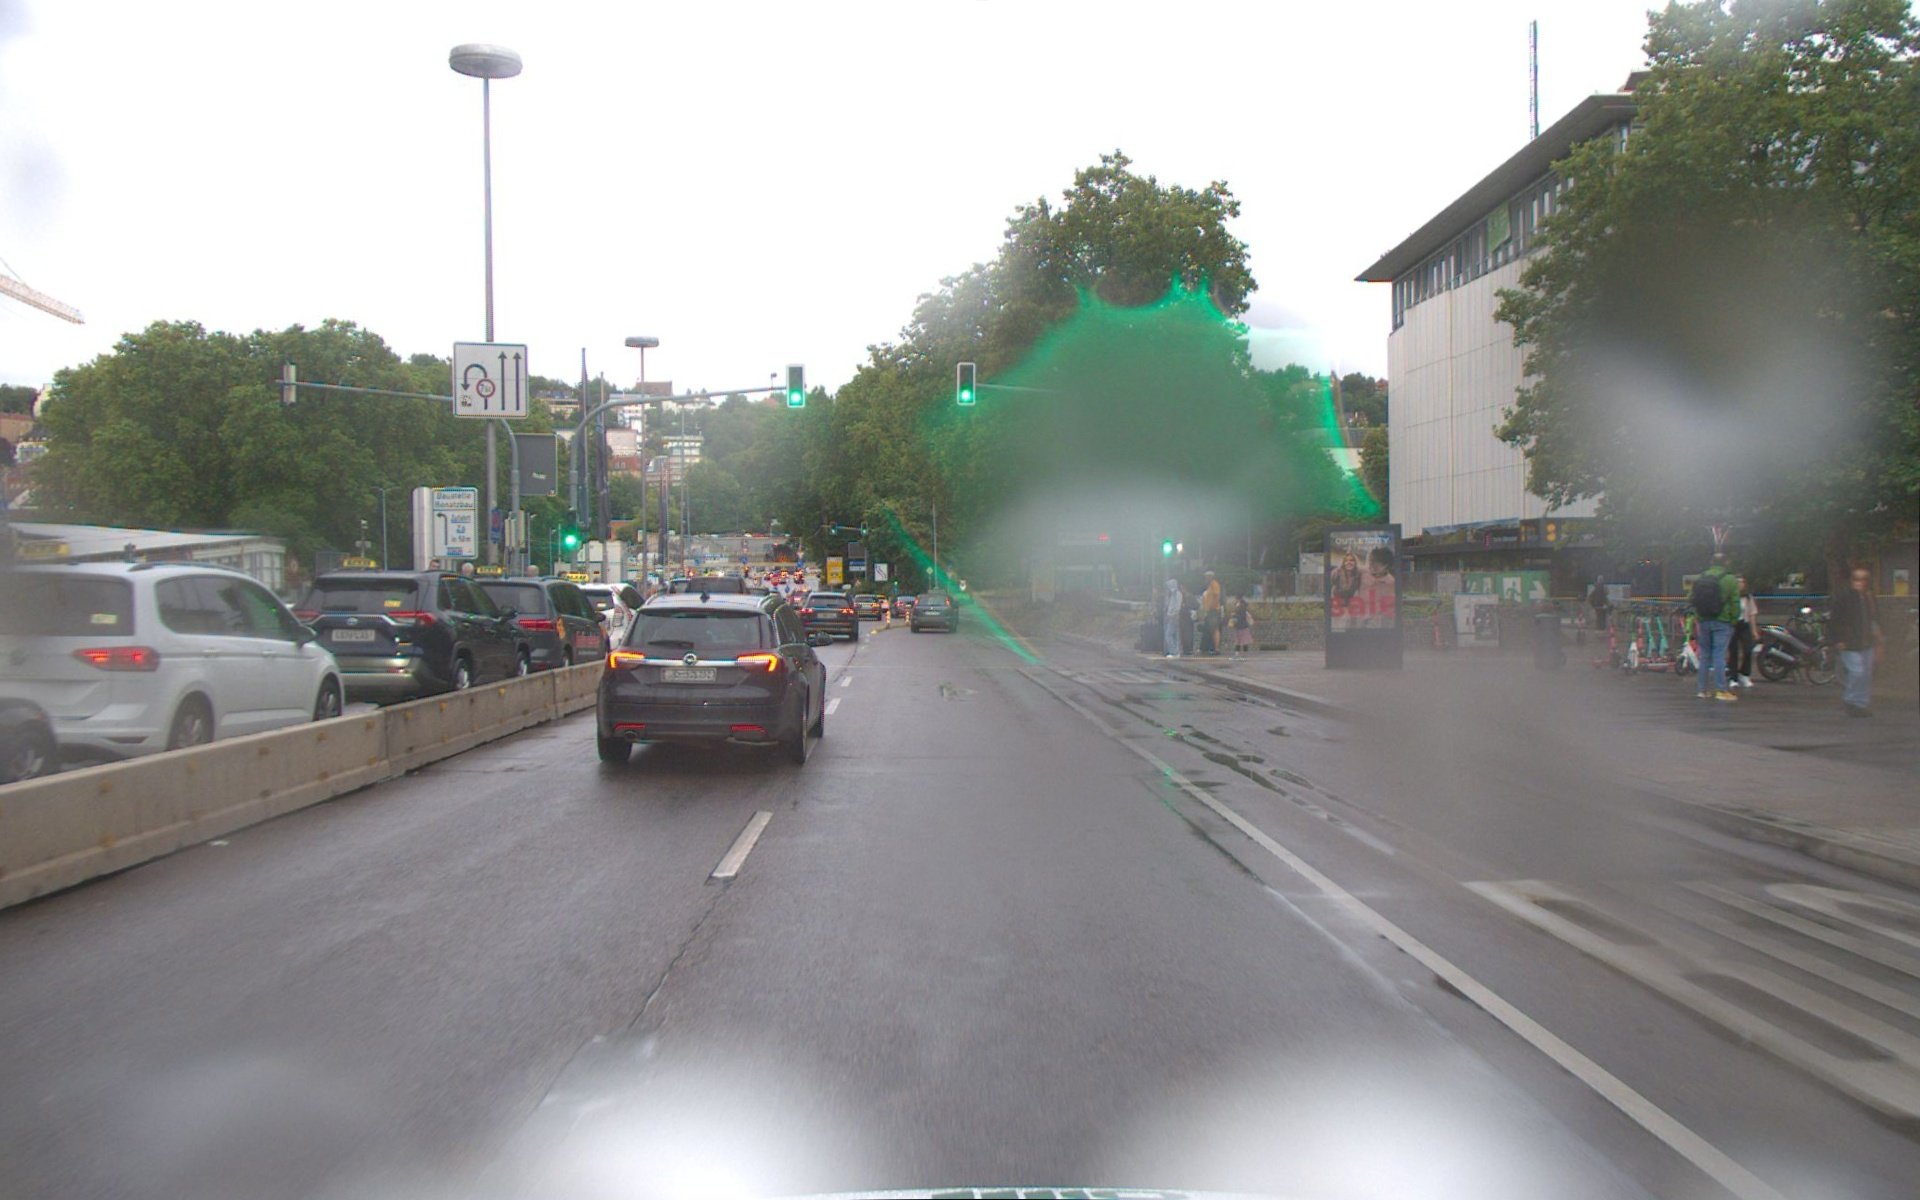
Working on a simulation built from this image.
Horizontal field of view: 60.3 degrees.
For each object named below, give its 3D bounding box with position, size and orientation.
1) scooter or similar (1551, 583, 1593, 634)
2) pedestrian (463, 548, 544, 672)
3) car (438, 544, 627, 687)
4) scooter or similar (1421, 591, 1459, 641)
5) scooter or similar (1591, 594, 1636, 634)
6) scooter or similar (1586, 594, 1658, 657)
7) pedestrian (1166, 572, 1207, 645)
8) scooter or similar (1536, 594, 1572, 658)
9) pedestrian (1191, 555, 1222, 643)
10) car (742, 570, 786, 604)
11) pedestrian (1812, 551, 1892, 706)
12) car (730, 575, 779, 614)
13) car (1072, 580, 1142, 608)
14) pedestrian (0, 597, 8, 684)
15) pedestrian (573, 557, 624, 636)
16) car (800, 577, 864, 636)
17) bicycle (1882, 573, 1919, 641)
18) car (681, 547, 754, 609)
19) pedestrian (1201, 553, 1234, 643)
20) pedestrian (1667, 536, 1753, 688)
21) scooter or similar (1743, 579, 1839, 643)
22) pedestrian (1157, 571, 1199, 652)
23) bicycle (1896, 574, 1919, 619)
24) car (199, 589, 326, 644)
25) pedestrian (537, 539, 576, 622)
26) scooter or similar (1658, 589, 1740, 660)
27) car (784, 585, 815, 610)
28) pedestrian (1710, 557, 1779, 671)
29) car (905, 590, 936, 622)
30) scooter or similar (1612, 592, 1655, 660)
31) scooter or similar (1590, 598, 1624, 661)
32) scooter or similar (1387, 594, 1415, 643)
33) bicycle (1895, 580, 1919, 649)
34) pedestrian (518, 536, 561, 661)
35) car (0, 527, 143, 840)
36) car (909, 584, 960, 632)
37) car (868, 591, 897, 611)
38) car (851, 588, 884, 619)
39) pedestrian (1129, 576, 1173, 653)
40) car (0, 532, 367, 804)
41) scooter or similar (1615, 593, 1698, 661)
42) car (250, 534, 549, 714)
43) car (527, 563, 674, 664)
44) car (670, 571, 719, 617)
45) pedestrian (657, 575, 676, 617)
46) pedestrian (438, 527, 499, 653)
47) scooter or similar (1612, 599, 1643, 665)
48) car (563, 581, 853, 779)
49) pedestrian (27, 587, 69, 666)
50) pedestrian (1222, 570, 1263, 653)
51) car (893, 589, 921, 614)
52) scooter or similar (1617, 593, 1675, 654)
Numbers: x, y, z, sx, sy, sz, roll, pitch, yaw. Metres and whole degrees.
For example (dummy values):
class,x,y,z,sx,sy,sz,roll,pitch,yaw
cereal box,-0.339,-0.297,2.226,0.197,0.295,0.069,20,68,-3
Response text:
class,x,y,z,sx,sy,sz,roll,pitch,yaw
scooter or similar,16.582,0.215,44.846,0.402,1.355,1.312,1,0,-13
pedestrian,-7.767,0.158,28.156,0.819,2.049,1.024,0,1,37
car,-6.302,0.195,24.883,1.679,1.925,4.609,-1,0,-1
scooter or similar,12.468,0.407,42.989,0.366,1.281,1.312,1,0,-13
scooter or similar,17.827,0.376,45.134,0.467,1.053,1.312,-2,0,-13
scooter or similar,13.660,0.519,34.127,1.336,1.272,0.437,0,0,30
pedestrian,5.475,0.195,39.956,0.857,1.720,0.758,-1,0,-1
scooter or similar,11.884,0.506,33.097,0.317,1.258,1.099,0,0,0
pedestrian,6.218,-0.030,41.713,0.693,2.183,0.722,-1,1,11
car,-9.900,-0.642,83.863,1.955,1.595,4.871,-2,0,-5
pedestrian,9.693,0.305,17.986,0.637,1.647,0.502,-1,0,14
car,-8.491,-0.221,68.670,1.788,1.537,4.486,0,0,-5
car,8.244,-0.341,92.897,3.549,1.532,1.726,0,0,38
pedestrian,-21.023,0.885,35.593,0.626,1.873,0.775,-1,0,-3
pedestrian,-8.987,-0.087,41.136,0.983,1.919,0.683,-1,0,22
car,-3.928,0.184,51.154,1.794,1.715,4.132,-1,0,-2
bicycle,18.896,0.100,31.813,1.948,1.259,0.618,-3,0,0
car,-7.679,-0.678,52.688,1.954,1.877,5.057,0,0,-5
pedestrian,6.336,-0.062,40.657,0.545,2.183,0.665,-1,0,-15
pedestrian,9.962,0.150,21.976,0.693,1.966,0.787,-1,0,-10
scooter or similar,17.003,0.214,33.874,0.612,1.282,1.736,0,0,-27
pedestrian,5.060,0.258,38.433,0.733,1.836,0.707,-1,0,-16
bicycle,24.547,-0.090,41.979,0.603,1.121,2.026,-2,1,7
car,-19.908,0.446,47.386,1.953,1.493,4.000,0,0,0
pedestrian,-9.497,-0.463,38.941,0.815,1.919,0.690,-1,2,-11
scooter or similar,13.444,0.442,30.097,1.281,1.278,0.590,0,0,-15
car,-12.086,-0.170,124.122,1.958,1.859,3.990,0,0,-11
pedestrian,11.817,0.207,24.925,0.769,1.670,0.789,-1,0,14
car,-2.084,0.307,87.405,1.640,1.609,3.239,0,0,-1
scooter or similar,13.264,0.504,32.593,0.361,1.303,1.173,0,0,0
scooter or similar,12.779,0.568,32.695,0.299,1.228,0.957,0,0,0
scooter or similar,11.337,0.459,42.558,0.345,1.238,1.157,1,0,-2
bicycle,18.715,0.226,31.033,1.948,1.259,0.618,-3,0,0
pedestrian,-7.014,-0.034,27.611,0.517,2.049,0.890,-1,0,-3
car,-6.320,0.491,8.340,2.008,1.741,5.053,-1,0,-2
car,-1.001,0.287,62.661,1.815,1.747,3.998,0,0,-3
car,-6.404,0.070,136.254,1.781,1.602,3.989,0,0,-11
car,-5.313,0.219,95.346,1.866,1.747,3.998,0,0,-3
pedestrian,4.756,0.350,41.271,0.773,1.871,0.946,-1,0,-15
car,-6.526,0.451,13.417,1.954,1.818,4.452,-1,0,-3
scooter or similar,13.082,0.493,31.084,1.346,1.252,0.565,0,0,44
car,-6.360,0.225,19.422,1.953,1.818,4.846,-1,0,-2
car,-6.629,0.211,30.979,1.750,1.715,4.666,-1,0,-1
car,-12.329,-0.285,77.084,1.955,2.049,5.363,0,0,-6
pedestrian,-12.753,-0.172,71.878,0.621,1.784,0.822,0,0,2
pedestrian,-8.094,-0.168,27.238,0.821,2.049,0.620,0,1,41
scooter or similar,12.041,0.565,29.823,0.428,1.149,1.365,2,1,24
car,-2.124,0.608,15.327,1.839,1.534,4.853,0,0,1
pedestrian,-21.964,0.622,39.835,0.683,1.873,0.528,-1,0,-3
pedestrian,6.387,0.254,37.436,0.533,1.836,0.750,-1,0,-29
car,-3.572,0.073,111.416,1.603,1.653,3.791,0,0,-6
scooter or similar,14.304,0.482,34.485,1.074,1.238,0.475,0,0,30
